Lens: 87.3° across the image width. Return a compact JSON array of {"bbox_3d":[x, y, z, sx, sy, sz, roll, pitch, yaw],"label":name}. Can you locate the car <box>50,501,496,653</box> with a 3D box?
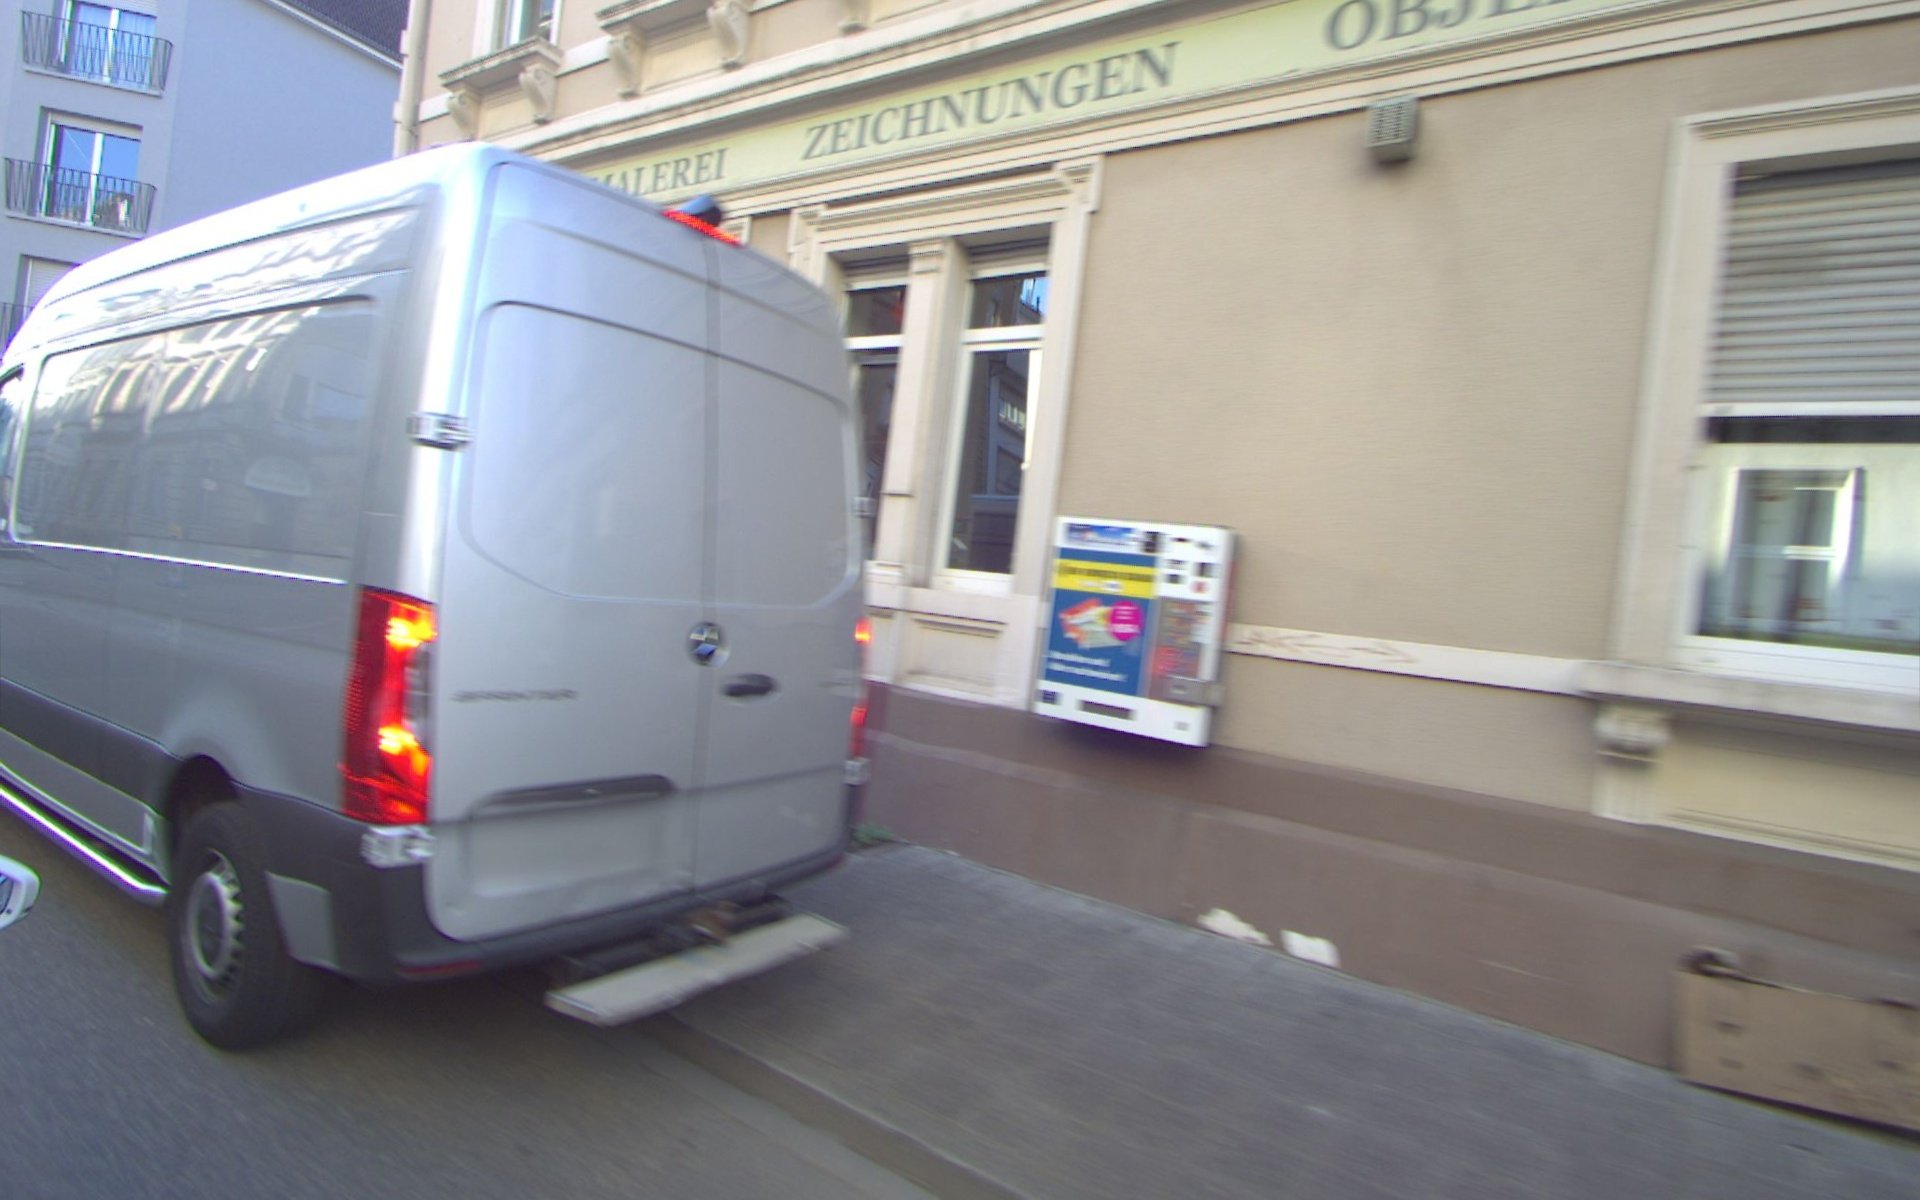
[{"bbox_3d":[-9.278,-0.223,14.011,1.861,1.425,4.715,7,-1,37],"label":"car"}]

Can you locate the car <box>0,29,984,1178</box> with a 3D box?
[{"bbox_3d":[-3.160,-0.179,4.870,6.106,2.469,2.278,7,-1,36],"label":"car"}]

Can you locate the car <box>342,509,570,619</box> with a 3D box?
[{"bbox_3d":[-11.146,-0.734,22.554,1.610,1.835,4.176,7,-1,34],"label":"car"}]
